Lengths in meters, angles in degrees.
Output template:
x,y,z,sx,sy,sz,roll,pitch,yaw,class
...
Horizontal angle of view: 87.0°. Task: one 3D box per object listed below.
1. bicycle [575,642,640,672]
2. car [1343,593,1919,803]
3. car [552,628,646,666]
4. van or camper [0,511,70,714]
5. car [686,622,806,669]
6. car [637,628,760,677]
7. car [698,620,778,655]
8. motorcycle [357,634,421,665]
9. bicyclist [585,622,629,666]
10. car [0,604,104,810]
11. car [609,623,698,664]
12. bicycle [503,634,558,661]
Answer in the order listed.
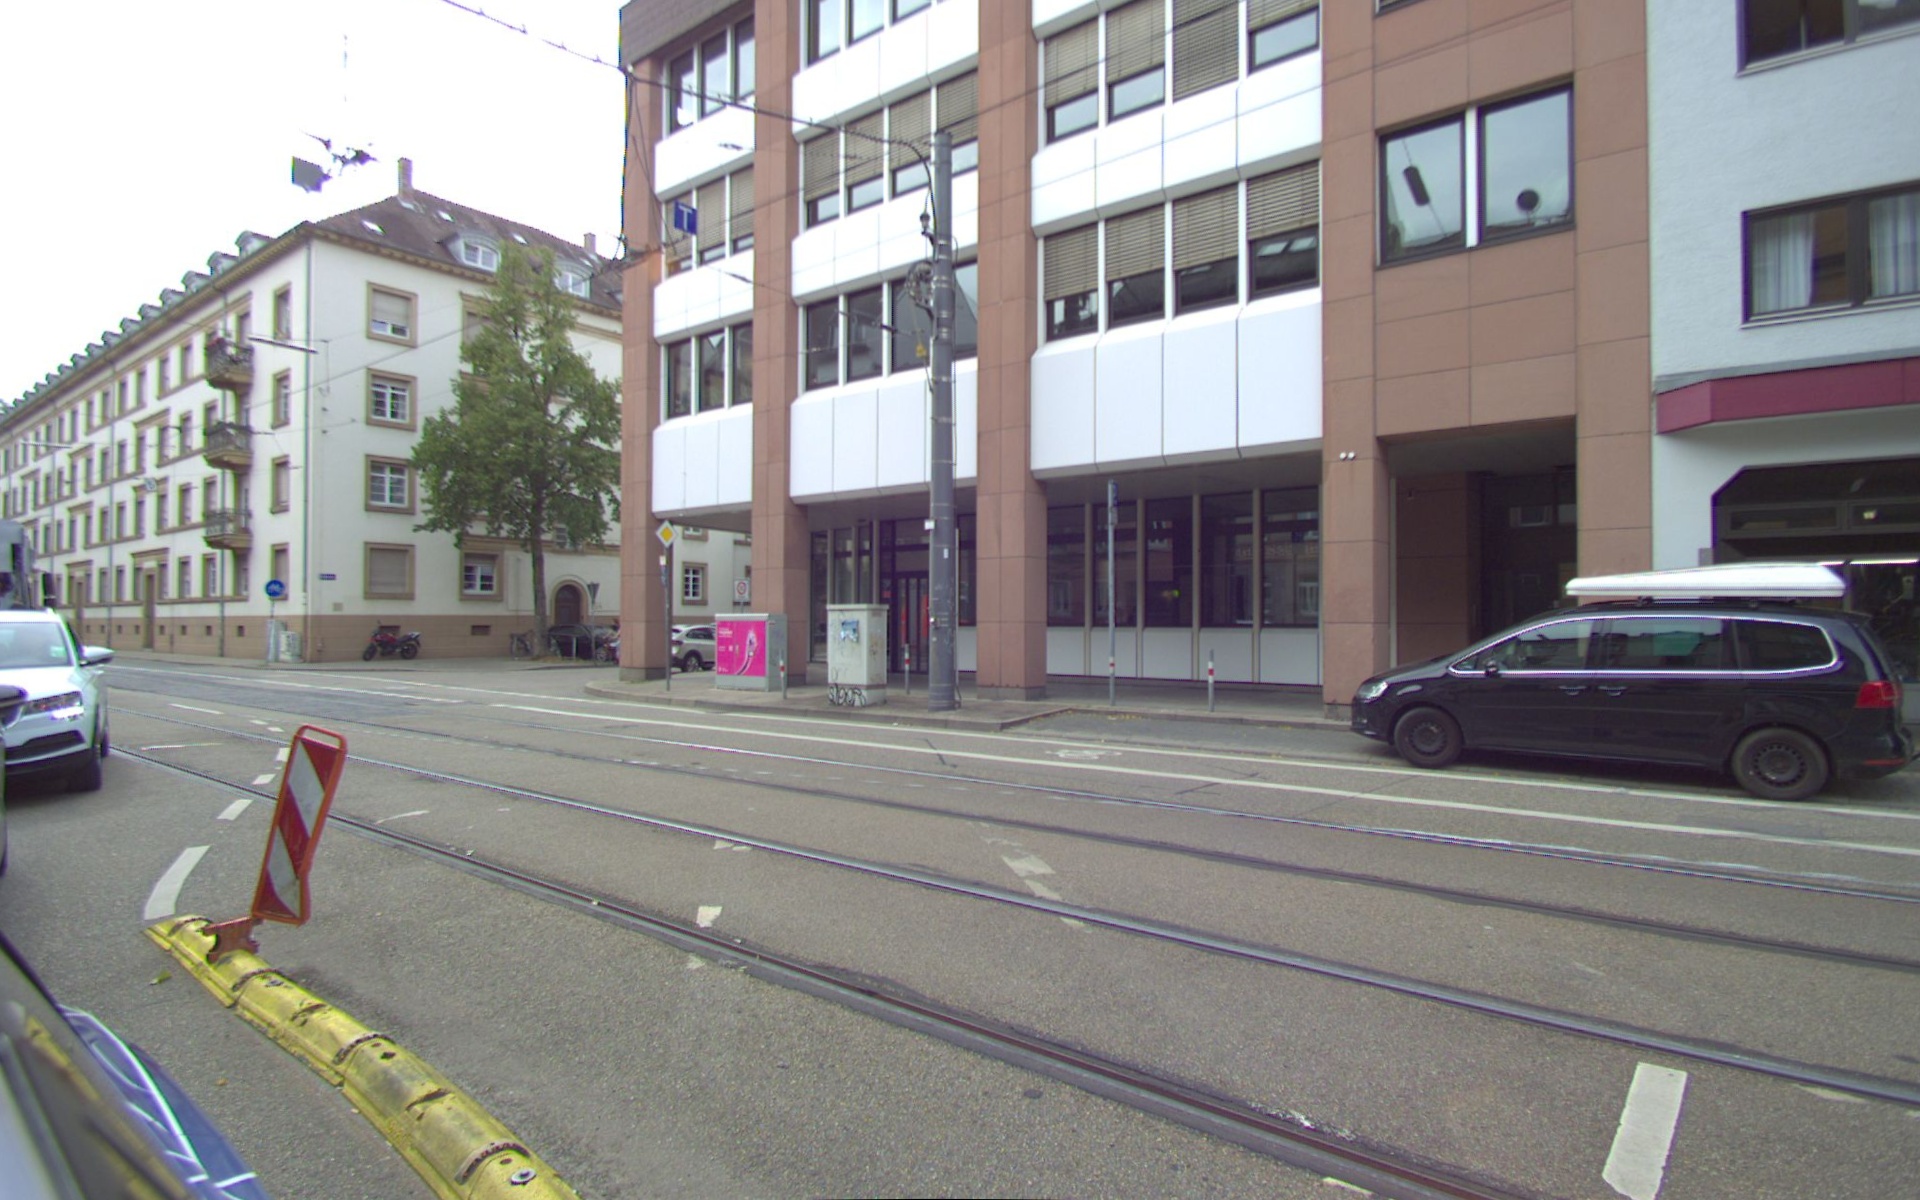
x,y,z,sx,sy,sz,roll,pitch,yaw,class
-12.015,1.942,34.516,1.982,0.972,0.673,1,-3,-44,bicycle
6.561,0.830,10.218,4.694,1.659,1.789,-2,0,40,car
-13.806,1.763,38.621,3.869,1.407,1.591,-1,-2,38,car
-20.312,0.306,19.962,9.642,3.447,2.575,-2,-2,39,van or camper
-7.912,1.640,37.526,3.985,1.549,1.777,-1,-1,-40,car
-7.947,1.552,31.027,1.606,1.399,3.611,-1,-2,31,car
-9.851,1.643,44.767,3.520,1.473,1.572,-1,-2,38,car
-20.893,1.789,37.068,0.792,1.094,1.900,-2,-2,39,motorcycle
-12.036,1.508,34.512,1.241,1.473,0.678,1,-3,-43,bicyclist
-9.199,0.888,9.249,4.284,1.603,1.749,-2,-1,45,car
-12.257,1.699,40.418,3.711,1.559,1.591,-1,-2,38,car
-17.556,1.929,41.385,0.792,1.094,1.900,-2,-2,39,bicycle
